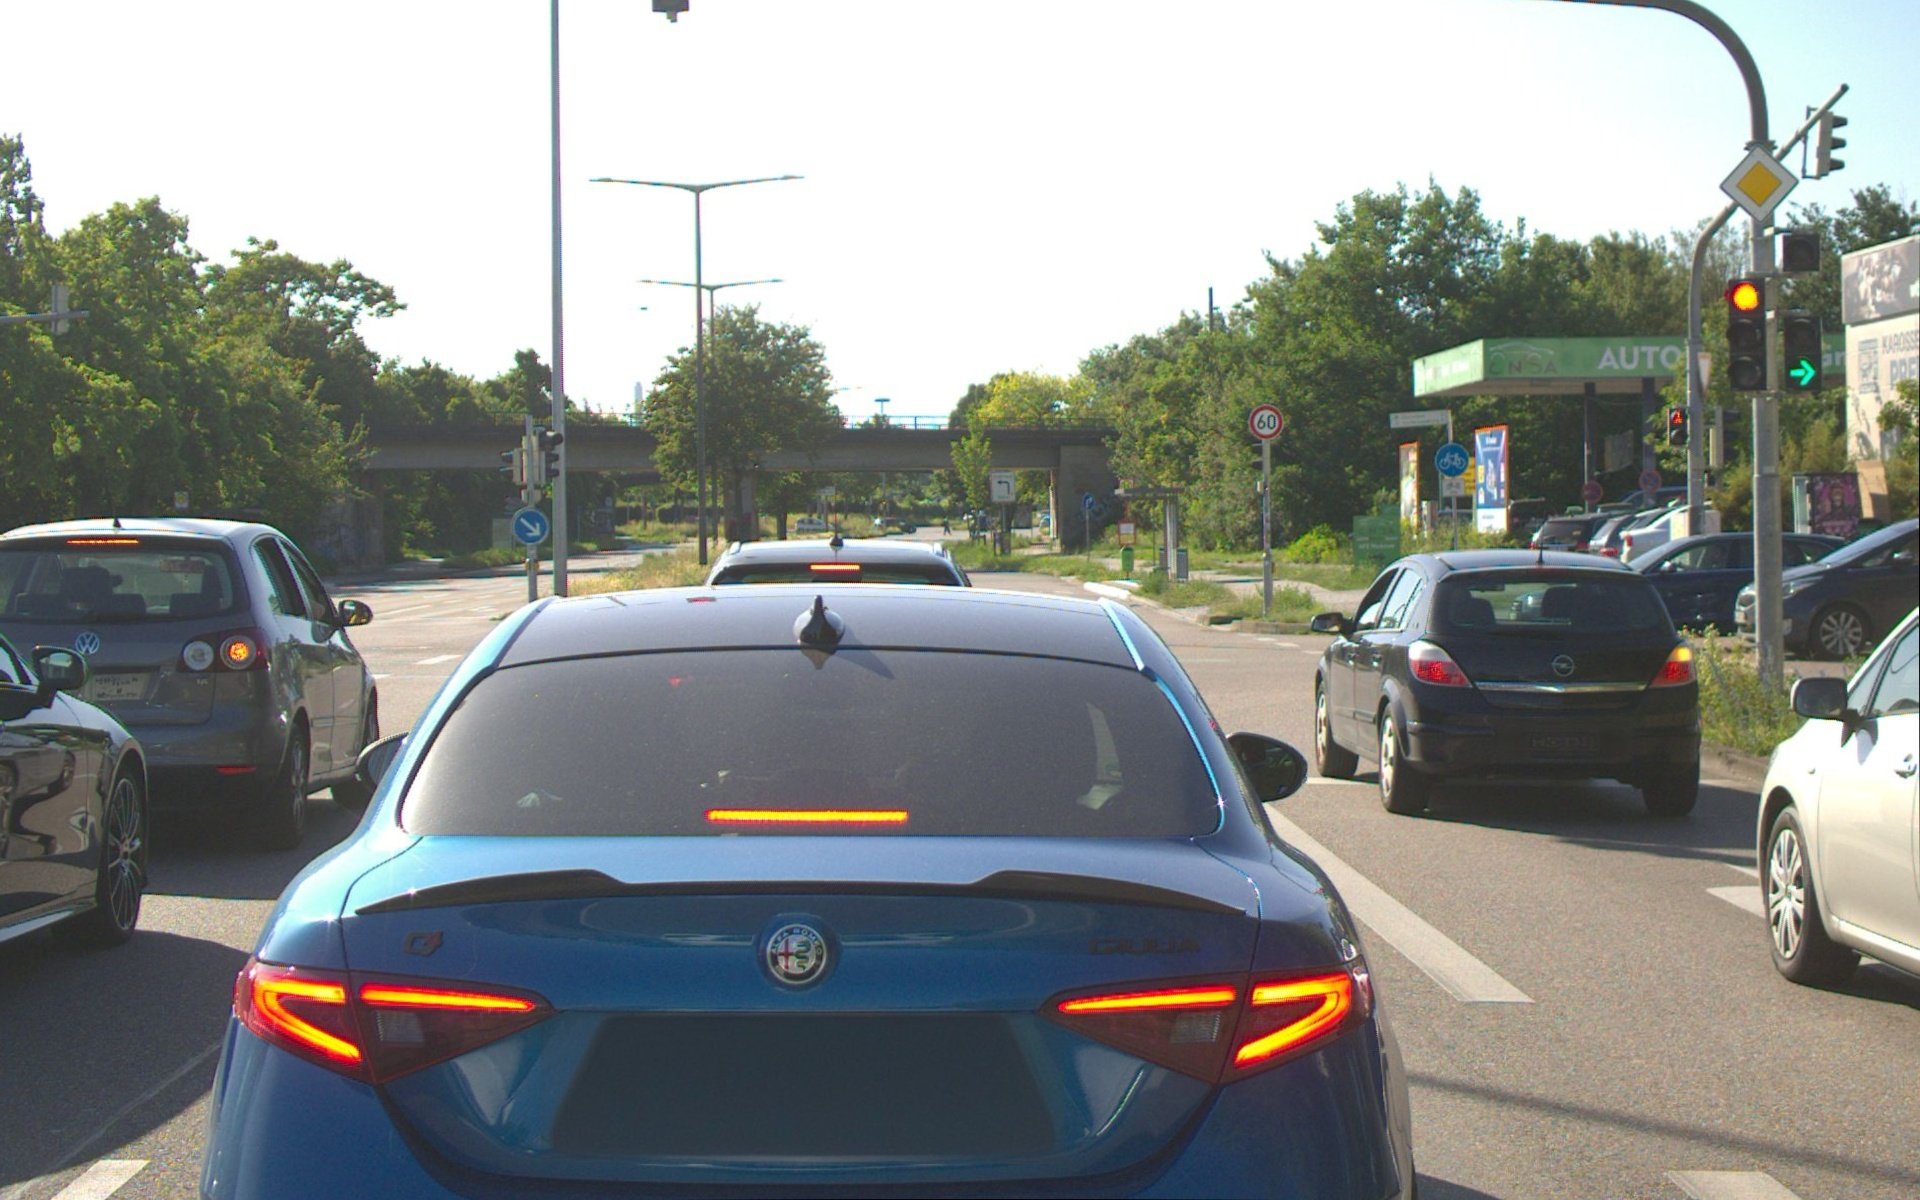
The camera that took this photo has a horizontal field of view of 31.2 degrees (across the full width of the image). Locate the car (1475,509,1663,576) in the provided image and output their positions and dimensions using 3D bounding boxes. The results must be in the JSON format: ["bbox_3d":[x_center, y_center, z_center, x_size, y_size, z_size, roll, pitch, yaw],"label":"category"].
[{"bbox_3d":[14.687,-1.381,82.972,3.986,1.547,2.001,1,0,-18],"label":"car"}]

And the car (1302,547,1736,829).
[{"bbox_3d":[3.120,0.422,20.019,1.734,1.437,4.372,1,1,-1],"label":"car"}]

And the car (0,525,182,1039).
[{"bbox_3d":[-3.798,0.535,10.691,1.812,1.546,4.544,0,1,-1],"label":"car"}]

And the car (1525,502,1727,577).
[{"bbox_3d":[14.440,-1.299,74.695,3.987,1.547,2.000,1,0,1],"label":"car"}]

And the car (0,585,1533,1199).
[{"bbox_3d":[-0.222,0.704,6.122,1.910,1.418,3.719,1,1,1],"label":"car"}]

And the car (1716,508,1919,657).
[{"bbox_3d":[10.976,-0.186,39.216,4.306,1.644,1.638,1,0,-1],"label":"car"}]

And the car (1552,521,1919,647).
[{"bbox_3d":[9.918,-0.198,42.547,4.818,1.463,1.759,1,0,-2],"label":"car"}]

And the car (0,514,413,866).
[{"bbox_3d":[-3.964,0.375,17.421,1.812,1.546,4.354,1,1,-2],"label":"car"}]

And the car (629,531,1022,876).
[{"bbox_3d":[-0.557,0.438,16.959,1.704,1.492,3.719,1,1,1],"label":"car"}]

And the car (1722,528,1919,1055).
[{"bbox_3d":[3.696,0.565,10.422,1.783,1.531,4.108,1,1,-1],"label":"car"}]
